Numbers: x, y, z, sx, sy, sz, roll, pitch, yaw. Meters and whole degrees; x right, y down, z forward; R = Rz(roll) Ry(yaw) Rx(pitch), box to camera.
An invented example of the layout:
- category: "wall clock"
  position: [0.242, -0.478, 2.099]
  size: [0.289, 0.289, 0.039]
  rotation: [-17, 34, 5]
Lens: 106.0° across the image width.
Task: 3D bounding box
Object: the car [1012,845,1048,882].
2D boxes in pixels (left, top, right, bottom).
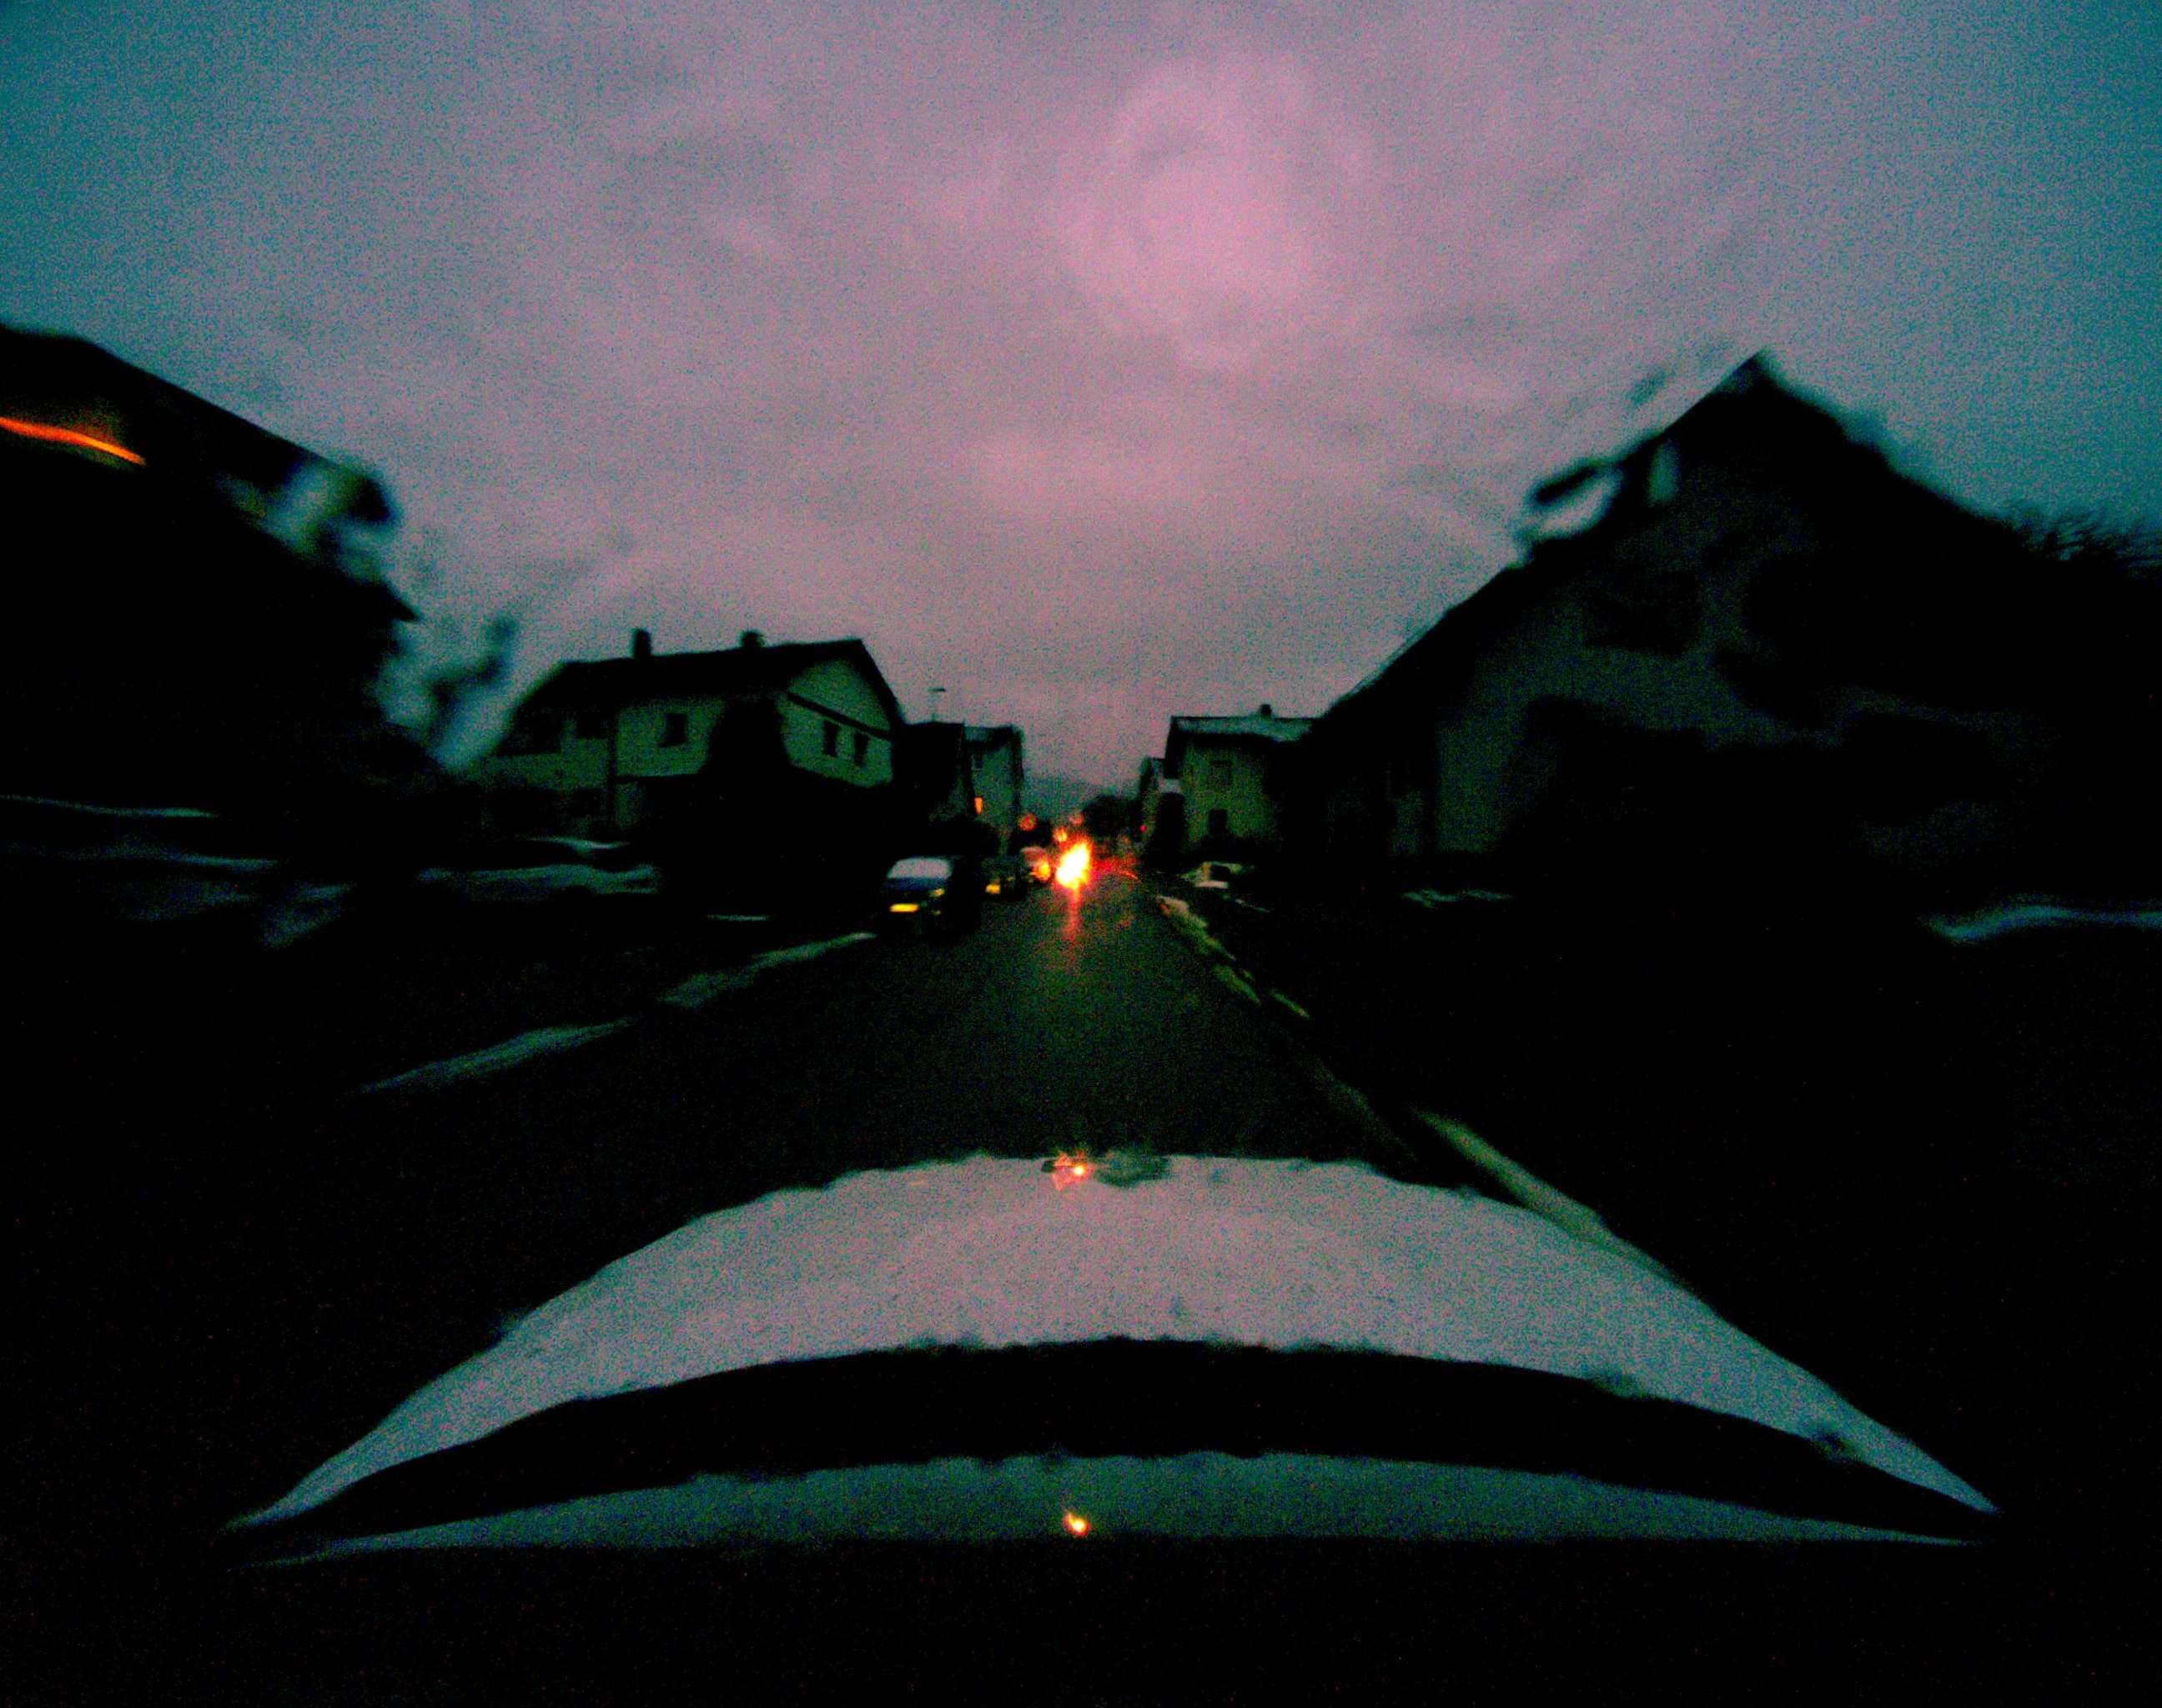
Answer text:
- category: "car"
  position: [-2.741, 0.488, 43.334]
  size: [1.822, 1.835, 4.338]
  rotation: [-1, 0, -5]

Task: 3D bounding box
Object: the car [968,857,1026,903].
- category: "car"
  position: [-3.003, 0.890, 29.834]
  size: [1.790, 1.503, 4.306]
  rotation: [-1, 0, -2]

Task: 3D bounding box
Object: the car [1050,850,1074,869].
- category: "car"
  position: [-1.735, 0.547, 75.911]
  size: [1.986, 1.650, 4.001]
  rotation: [-1, -1, 2]

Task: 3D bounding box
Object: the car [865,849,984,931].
- category: "car"
  position: [-3.315, 0.722, 18.046]
  size: [1.677, 1.584, 4.177]
  rotation: [-1, -1, 2]

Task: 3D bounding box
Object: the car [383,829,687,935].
- category: "car"
  position: [-9.178, 0.431, 13.900]
  size: [3.967, 1.618, 1.891]
  rotation: [1, 0, 5]

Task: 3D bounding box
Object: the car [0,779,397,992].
- category: "car"
  position: [-9.710, 0.212, 8.201]
  size: [3.967, 1.746, 2.003]
  rotation: [3, -1, 5]

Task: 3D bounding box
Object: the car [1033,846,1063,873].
- category: "car"
  position: [-2.296, 0.386, 57.619]
  size: [1.987, 1.800, 3.999]
  rotation: [-1, 0, 0]
